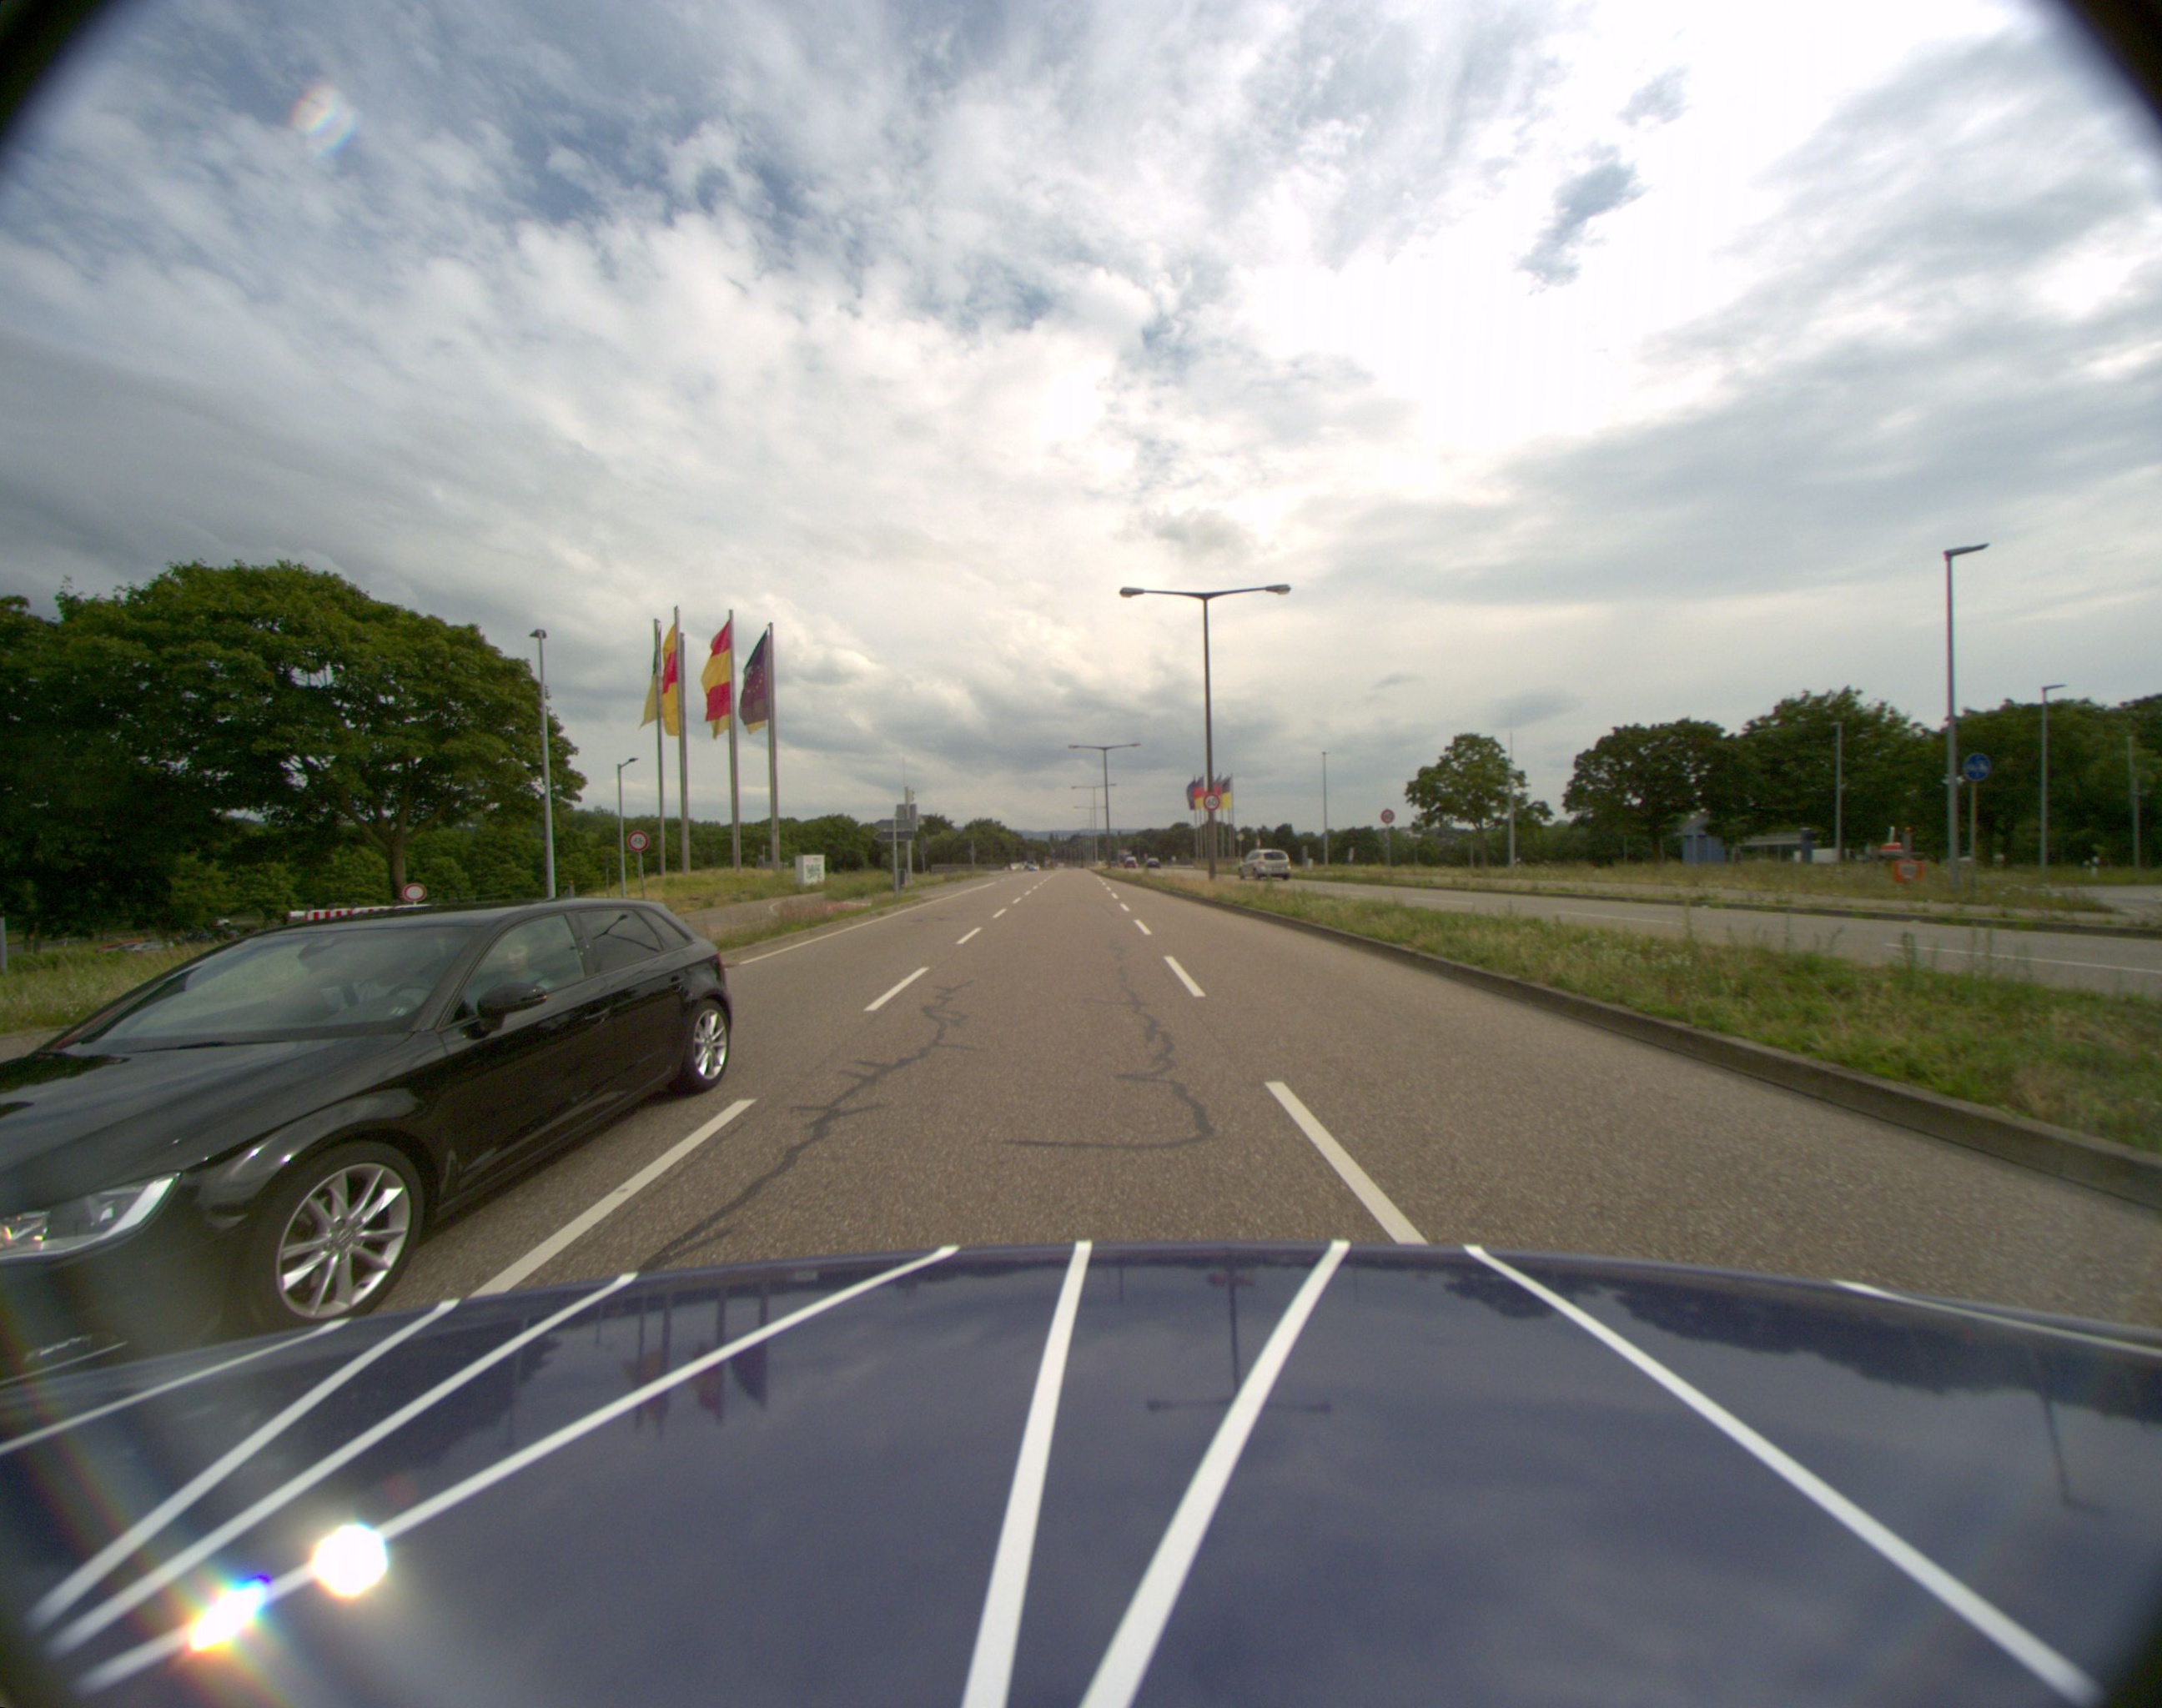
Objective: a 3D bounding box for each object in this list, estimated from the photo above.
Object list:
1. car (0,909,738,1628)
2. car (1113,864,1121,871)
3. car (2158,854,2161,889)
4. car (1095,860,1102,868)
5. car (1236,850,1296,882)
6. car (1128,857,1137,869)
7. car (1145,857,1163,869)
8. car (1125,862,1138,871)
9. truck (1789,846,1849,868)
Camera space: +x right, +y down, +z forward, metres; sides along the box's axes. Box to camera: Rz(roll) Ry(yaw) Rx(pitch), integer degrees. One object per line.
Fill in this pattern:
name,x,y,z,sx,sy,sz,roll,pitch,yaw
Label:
car,-3.384,1.118,3.521,1.735,1.386,4.115,-3,0,-1
car,8.811,3.301,185.657,1.751,1.576,4.587,0,-1,1
car,46.093,0.662,30.988,4.467,1.437,1.747,-1,-1,-25
car,4.212,2.404,185.195,1.544,1.860,3.571,0,-1,1
car,9.897,0.663,41.065,1.750,1.589,4.563,-1,-1,-5
car,11.654,2.007,171.616,2.057,2.627,6.403,0,-1,4
car,9.888,1.235,102.916,1.750,1.467,4.564,-1,-1,-2
car,8.320,2.062,125.938,1.656,1.565,4.338,0,-1,-2
truck,165.049,0.654,169.823,14.015,4.317,3.026,-2,0,-16
